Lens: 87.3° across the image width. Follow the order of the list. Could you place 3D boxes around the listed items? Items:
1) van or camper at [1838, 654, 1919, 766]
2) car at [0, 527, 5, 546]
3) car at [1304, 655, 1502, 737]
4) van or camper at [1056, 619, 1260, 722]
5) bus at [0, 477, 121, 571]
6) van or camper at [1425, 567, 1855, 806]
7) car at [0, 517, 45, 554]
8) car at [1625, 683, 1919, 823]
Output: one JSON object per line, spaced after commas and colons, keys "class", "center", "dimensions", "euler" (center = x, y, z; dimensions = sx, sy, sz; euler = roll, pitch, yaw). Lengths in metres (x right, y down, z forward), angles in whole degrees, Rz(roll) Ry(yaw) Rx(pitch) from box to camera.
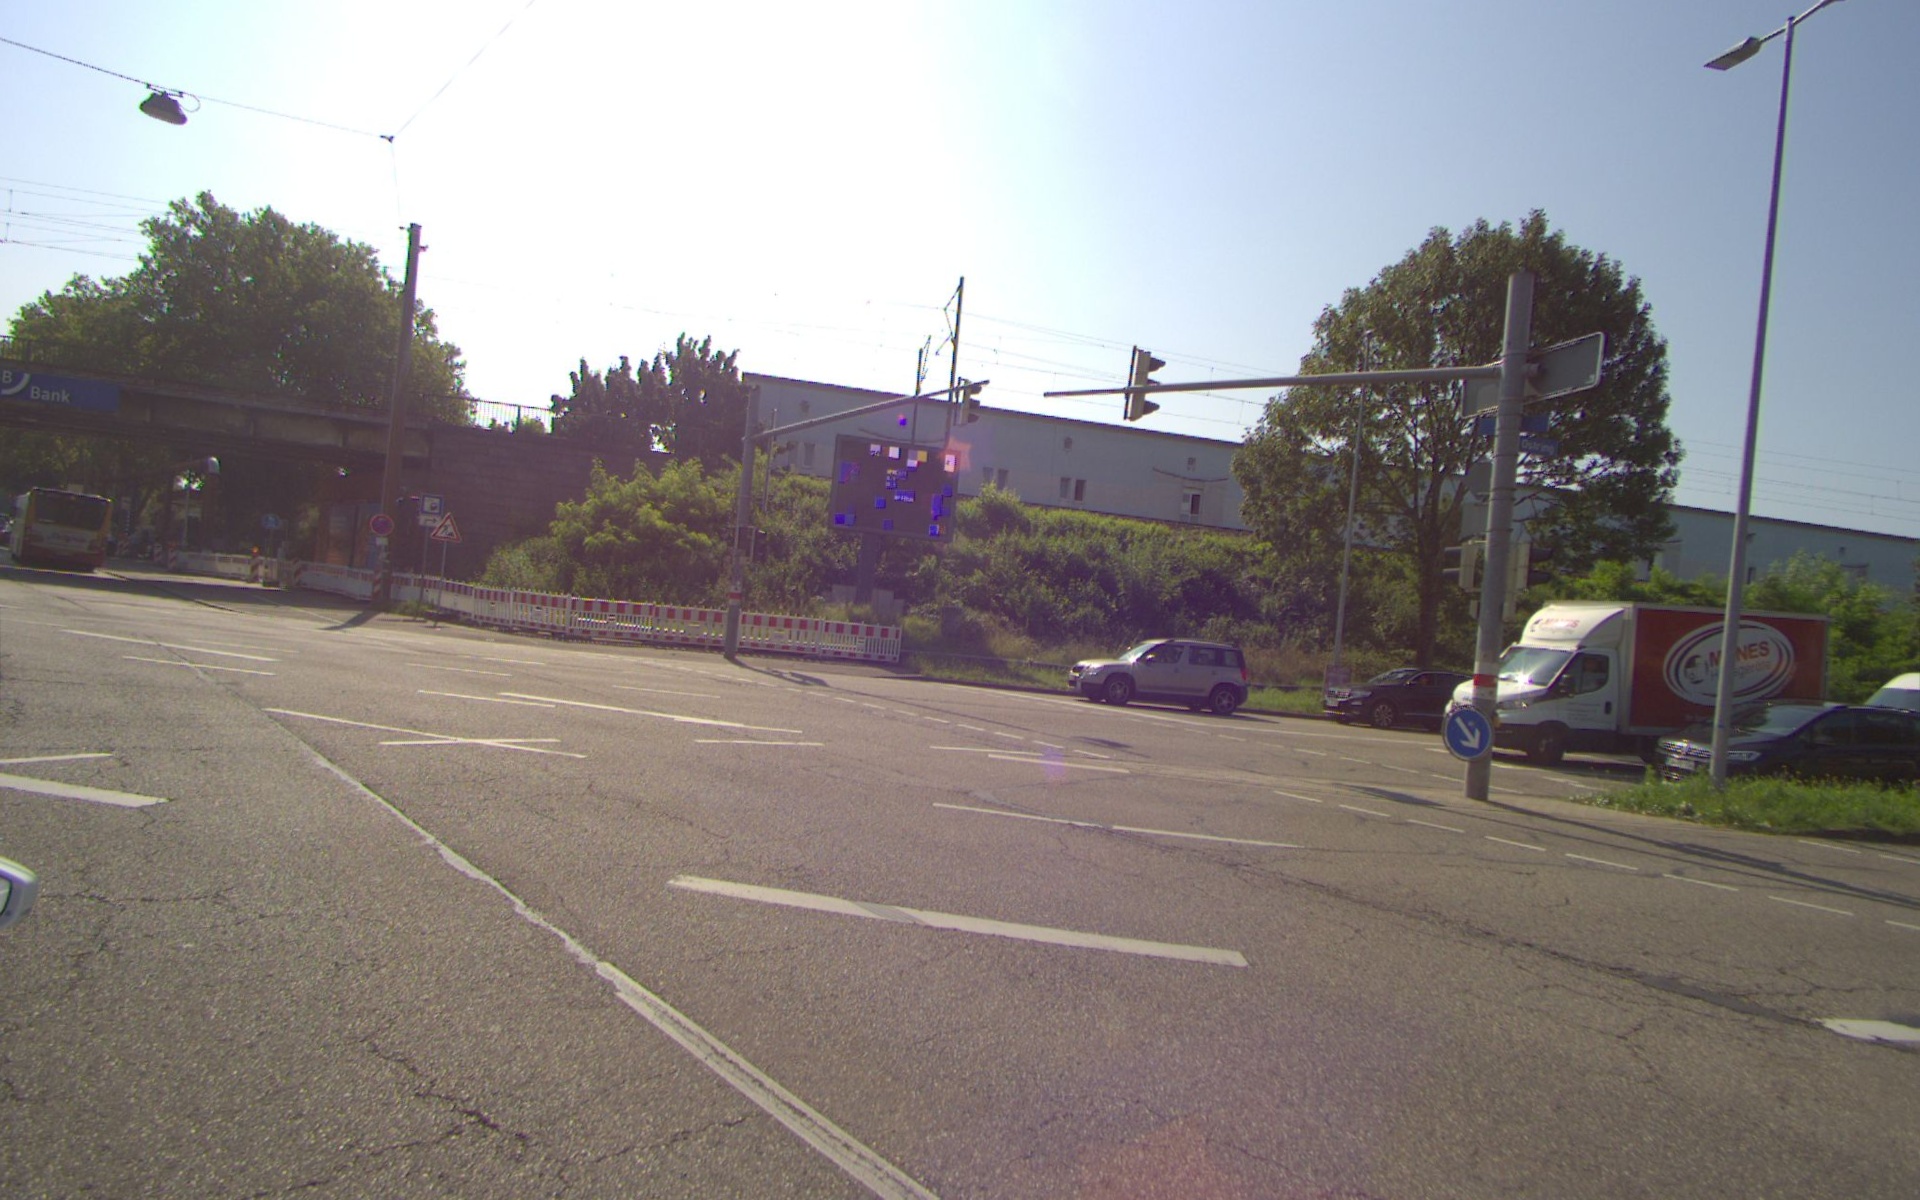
{"class": "van or camper", "center": [25.218, 2.991, 24.303], "dimensions": [6.753, 2.510, 2.247], "euler": [8, -2, -11]}
{"class": "car", "center": [-109.082, -7.282, 113.123], "dimensions": [3.945, 2.036, 1.992], "euler": [5, -3, 42]}
{"class": "car", "center": [10.768, 2.331, 24.561], "dimensions": [3.934, 1.570, 1.997], "euler": [6, -2, -12]}
{"class": "van or camper", "center": [4.536, 1.619, 23.298], "dimensions": [4.105, 1.796, 1.850], "euler": [8, -3, -10]}
{"class": "bus", "center": [-39.403, -3.235, 43.667], "dimensions": [12.134, 3.148, 3.129], "euler": [4, -3, 45]}
{"class": "van or camper", "center": [12.624, 1.618, 18.849], "dimensions": [6.735, 3.400, 2.248], "euler": [8, -2, -9]}
{"class": "car", "center": [-62.943, -4.333, 67.285], "dimensions": [3.945, 2.036, 1.992], "euler": [5, -3, 42]}
{"class": "car", "center": [13.750, 2.505, 16.137], "dimensions": [5.108, 1.631, 1.905], "euler": [8, -3, -9]}
